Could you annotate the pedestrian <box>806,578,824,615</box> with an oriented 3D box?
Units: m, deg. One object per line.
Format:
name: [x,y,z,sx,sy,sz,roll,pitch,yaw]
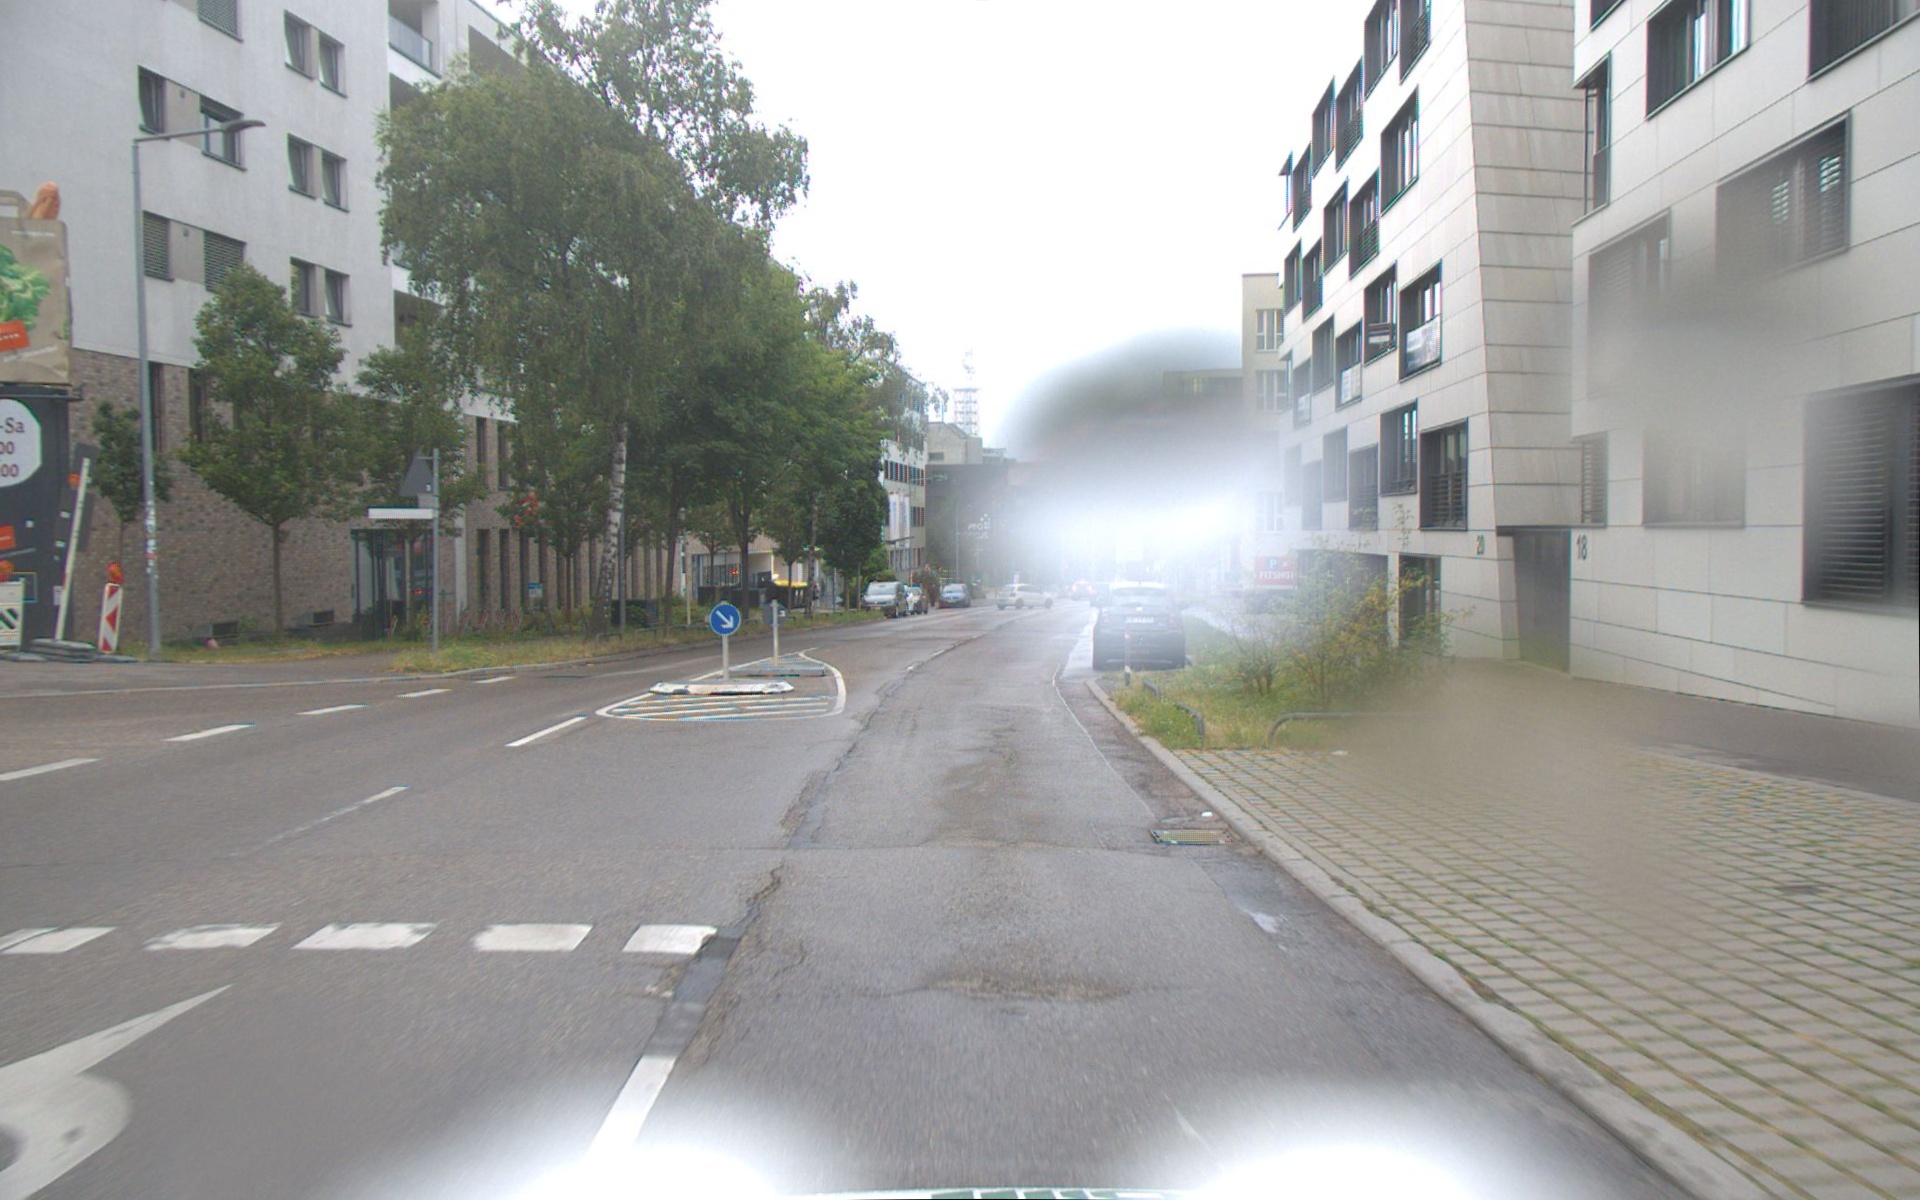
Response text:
pedestrian: [-6.682,-0.155,76.340,0.694,1.712,0.957,0,0,1]

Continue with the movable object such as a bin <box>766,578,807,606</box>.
movable object such as a bin: [-9.310,-0.427,88.891,1.984,1.454,1.290,2,0,2]

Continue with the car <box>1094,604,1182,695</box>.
car: [3.308,0.867,30.637,1.513,1.504,3.663,0,1,7]

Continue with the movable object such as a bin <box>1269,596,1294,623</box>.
movable object such as a bin: [17.045,0.482,87.667,1.234,1.427,1.113,0,0,8]

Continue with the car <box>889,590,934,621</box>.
car: [-2.541,0.306,87.428,1.758,1.543,4.248,0,-1,7]

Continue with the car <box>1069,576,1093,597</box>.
car: [10.798,-1.178,147.593,2.096,1.758,4.002,0,-1,3]

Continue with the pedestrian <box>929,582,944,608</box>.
pedestrian: [-1.582,-0.309,111.021,0.718,1.738,0.898,0,-1,-21]

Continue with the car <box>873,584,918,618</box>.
car: [-3.193,0.025,82.737,1.736,1.628,4.034,0,0,5]

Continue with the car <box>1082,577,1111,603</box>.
car: [9.459,-0.675,114.390,1.951,1.780,3.675,0,0,6]

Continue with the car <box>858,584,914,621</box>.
car: [-3.420,0.100,77.480,2.033,1.637,4.688,-1,0,4]

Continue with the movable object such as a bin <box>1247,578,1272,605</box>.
movable object such as a bin: [15.750,-0.442,86.905,1.208,1.343,1.192,-1,-1,8]

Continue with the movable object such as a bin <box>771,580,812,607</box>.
movable object such as a bin: [-9.197,-0.355,90.180,2.011,1.448,1.317,1,0,2]

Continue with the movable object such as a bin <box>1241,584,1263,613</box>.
movable object such as a bin: [15.682,-0.070,88.873,1.148,1.529,1.014,0,0,8]

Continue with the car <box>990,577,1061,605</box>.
car: [3.871,-0.539,98.053,3.959,1.604,1.971,0,1,-40]

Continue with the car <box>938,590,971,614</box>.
car: [-0.320,0.159,106.921,1.874,1.507,4.358,0,-1,3]
